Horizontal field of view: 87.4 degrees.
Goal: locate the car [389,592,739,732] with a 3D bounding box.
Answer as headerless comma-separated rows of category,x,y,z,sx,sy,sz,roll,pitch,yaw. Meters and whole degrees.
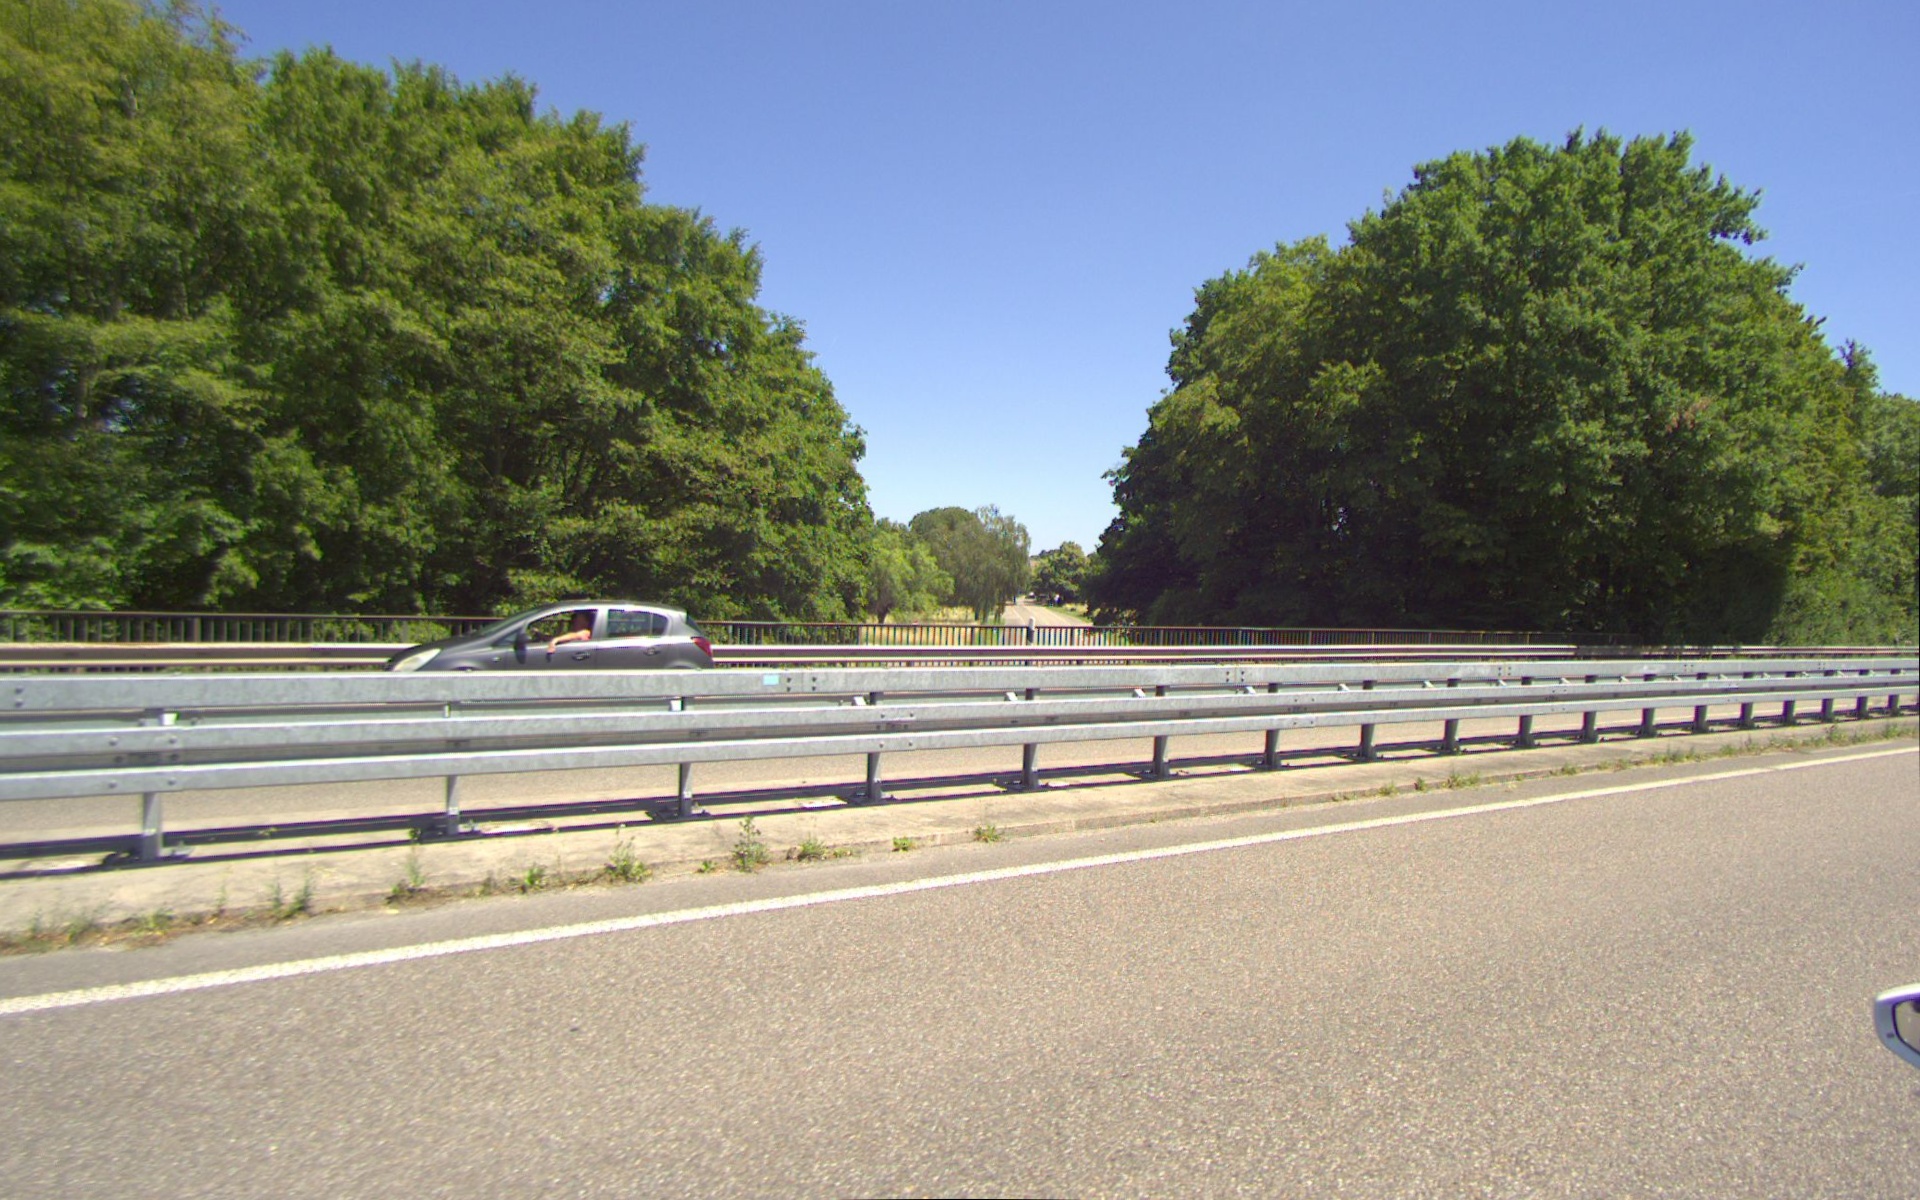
car,-5.001,0.735,12.826,3.951,1.549,1.643,2,-1,-30

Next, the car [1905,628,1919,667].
car,40.806,1.957,41.205,4.629,1.549,1.747,2,-1,-30
